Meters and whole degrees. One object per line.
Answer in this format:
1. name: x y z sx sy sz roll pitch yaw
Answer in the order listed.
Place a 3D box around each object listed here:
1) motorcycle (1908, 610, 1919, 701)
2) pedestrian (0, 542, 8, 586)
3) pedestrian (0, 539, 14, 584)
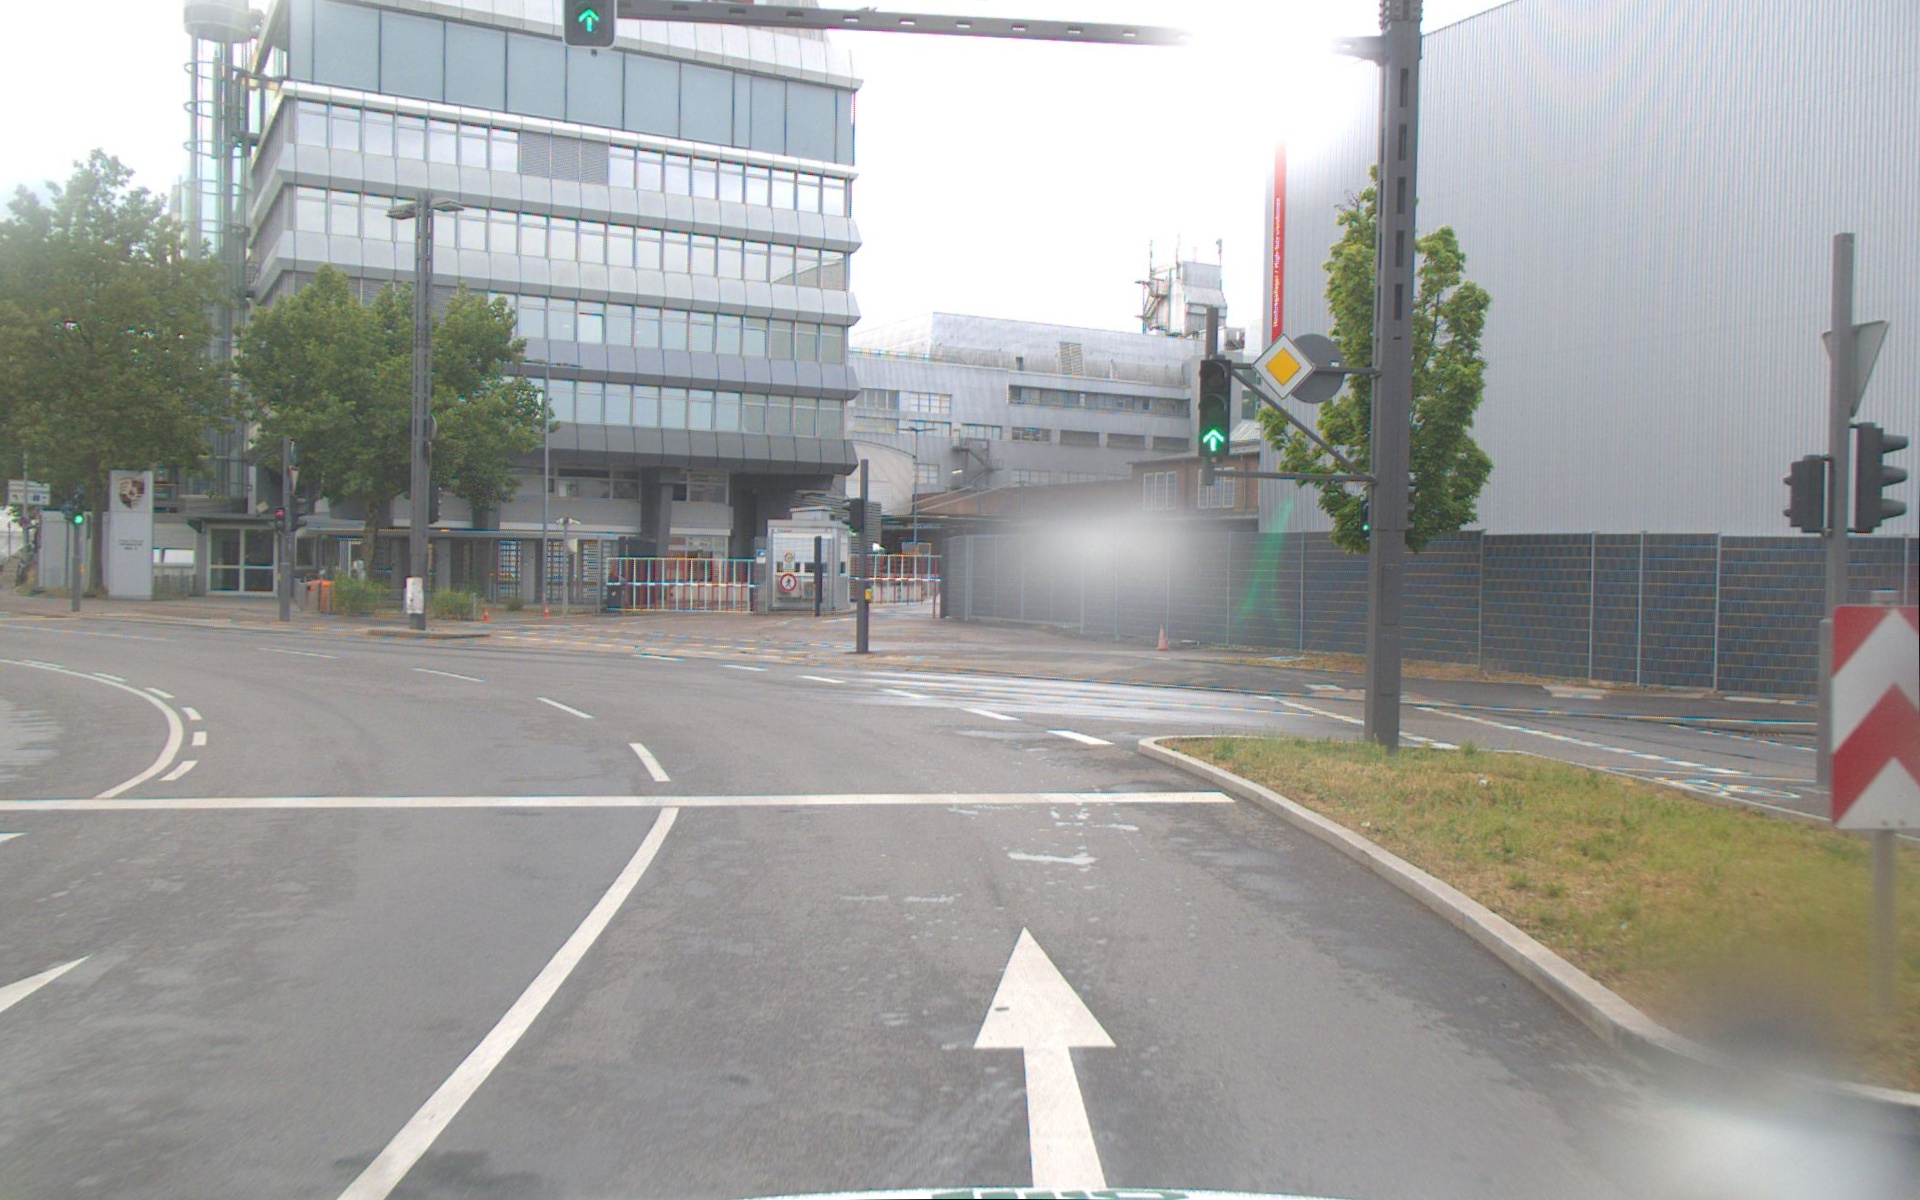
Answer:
1. motorcycle: 15.164 0.864 24.257 2.049 1.333 0.656 2 1 10
2. pedestrian: -33.830 -1.259 57.867 0.820 1.547 0.836 0 1 -24
3. pedestrian: -34.619 -1.403 59.763 0.700 1.619 0.834 0 1 -25
